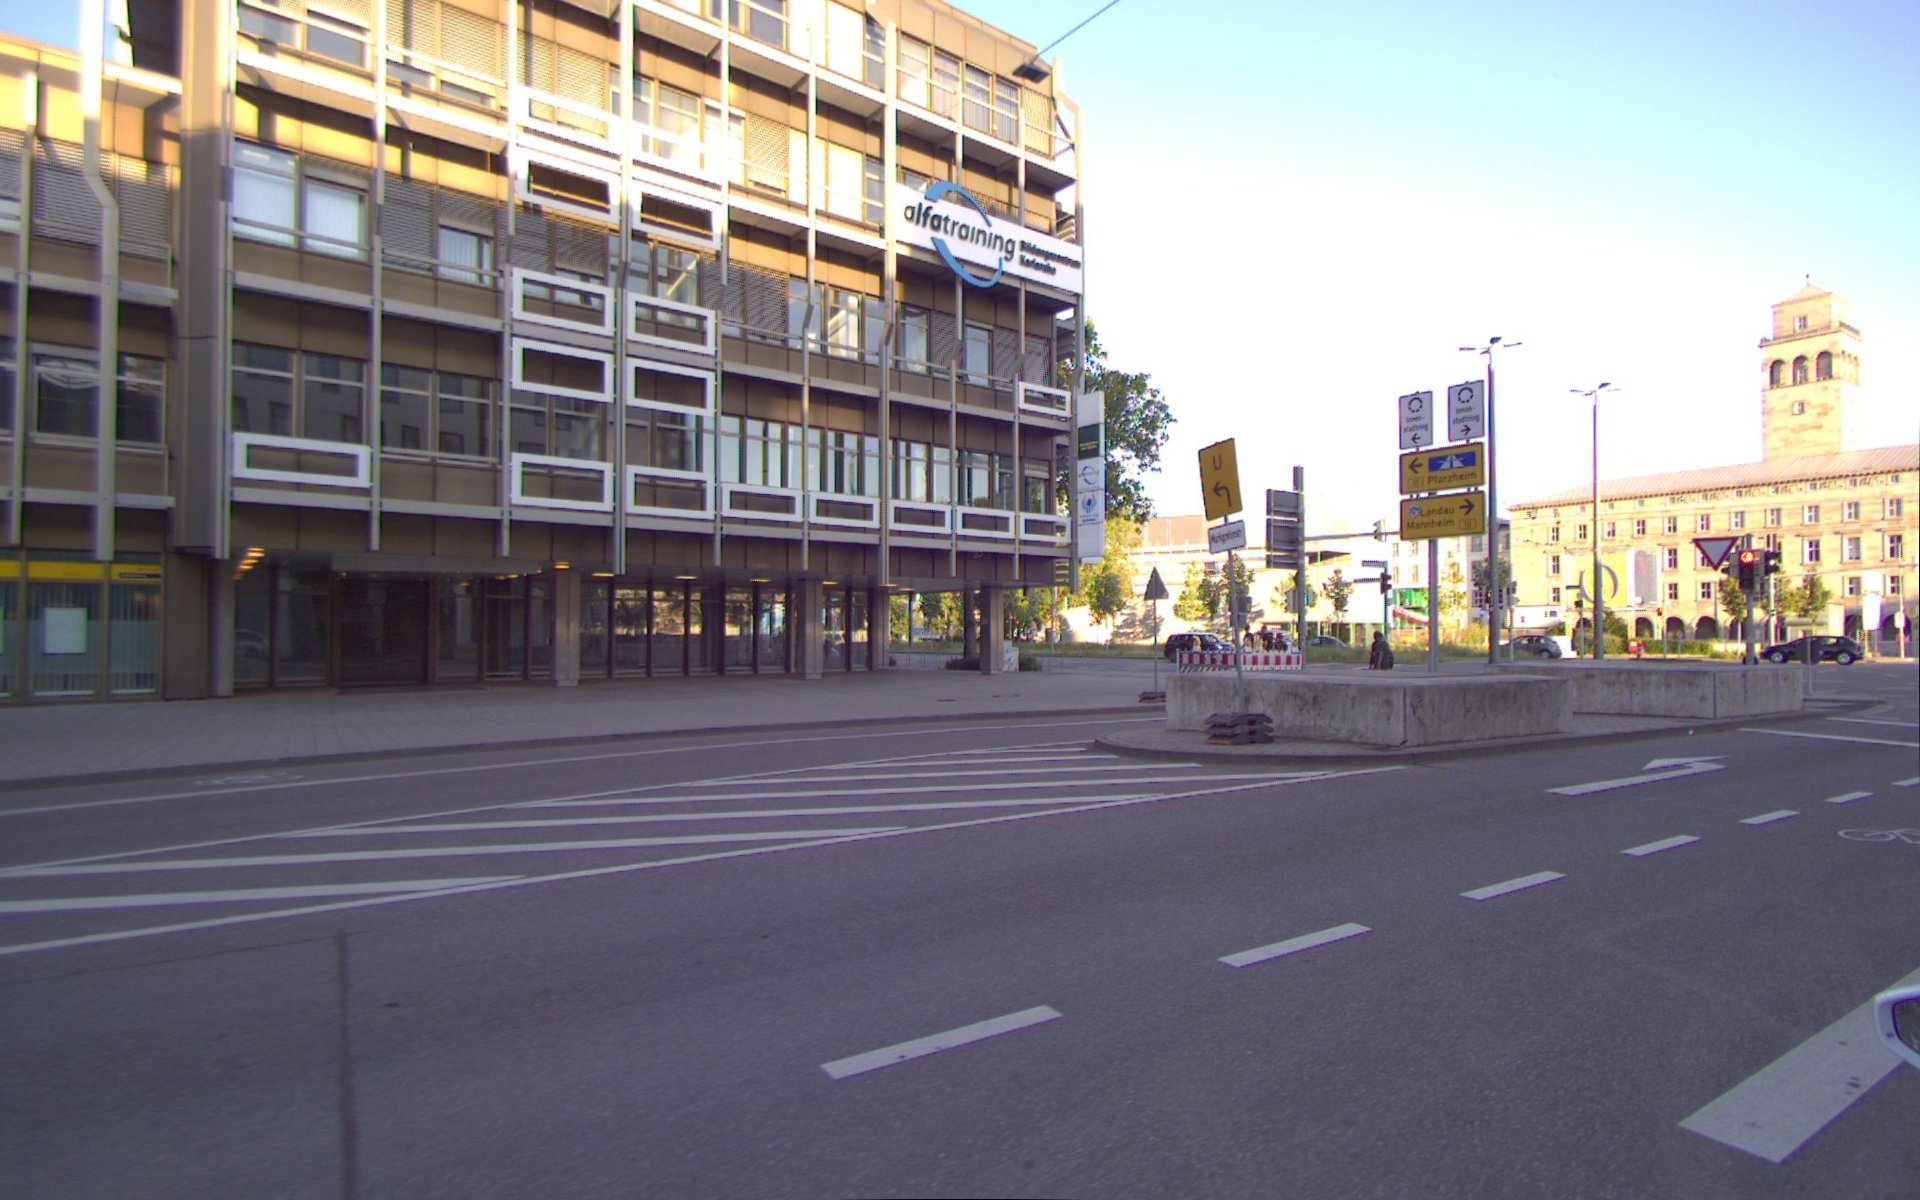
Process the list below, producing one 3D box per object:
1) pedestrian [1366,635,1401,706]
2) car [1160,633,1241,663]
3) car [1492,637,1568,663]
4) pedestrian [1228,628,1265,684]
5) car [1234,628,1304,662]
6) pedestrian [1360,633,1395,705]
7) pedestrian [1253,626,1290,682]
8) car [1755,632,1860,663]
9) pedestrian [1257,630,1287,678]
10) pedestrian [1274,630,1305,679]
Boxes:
[{"bbox_3d":[11.216,1.846,26.584,0.728,1.800,0.861,0,-1,32],"label":"pedestrian"},{"bbox_3d":[13.301,2.642,55.741,1.684,1.613,4.144,1,-2,-42],"label":"car"},{"bbox_3d":[33.889,2.939,59.785,1.533,1.472,3.684,1,-2,-40],"label":"car"},{"bbox_3d":[9.358,1.824,32.766,0.855,1.799,0.733,1,-4,-36],"label":"pedestrian"},{"bbox_3d":[16.044,2.325,52.154,3.097,1.707,1.603,-2,-2,43],"label":"car"},{"bbox_3d":[10.785,1.759,25.948,0.727,1.800,0.862,-1,-2,29],"label":"pedestrian"},{"bbox_3d":[10.275,1.789,33.090,0.855,1.799,0.734,1,-4,-36],"label":"pedestrian"},{"bbox_3d":[42.461,2.345,50.379,3.933,1.472,1.537,-2,-2,43],"label":"car"},{"bbox_3d":[11.988,2.065,38.583,0.727,1.799,0.862,-1,-4,-11],"label":"pedestrian"},{"bbox_3d":[12.310,2.051,37.547,0.727,1.799,0.862,-1,-4,-9],"label":"pedestrian"}]
